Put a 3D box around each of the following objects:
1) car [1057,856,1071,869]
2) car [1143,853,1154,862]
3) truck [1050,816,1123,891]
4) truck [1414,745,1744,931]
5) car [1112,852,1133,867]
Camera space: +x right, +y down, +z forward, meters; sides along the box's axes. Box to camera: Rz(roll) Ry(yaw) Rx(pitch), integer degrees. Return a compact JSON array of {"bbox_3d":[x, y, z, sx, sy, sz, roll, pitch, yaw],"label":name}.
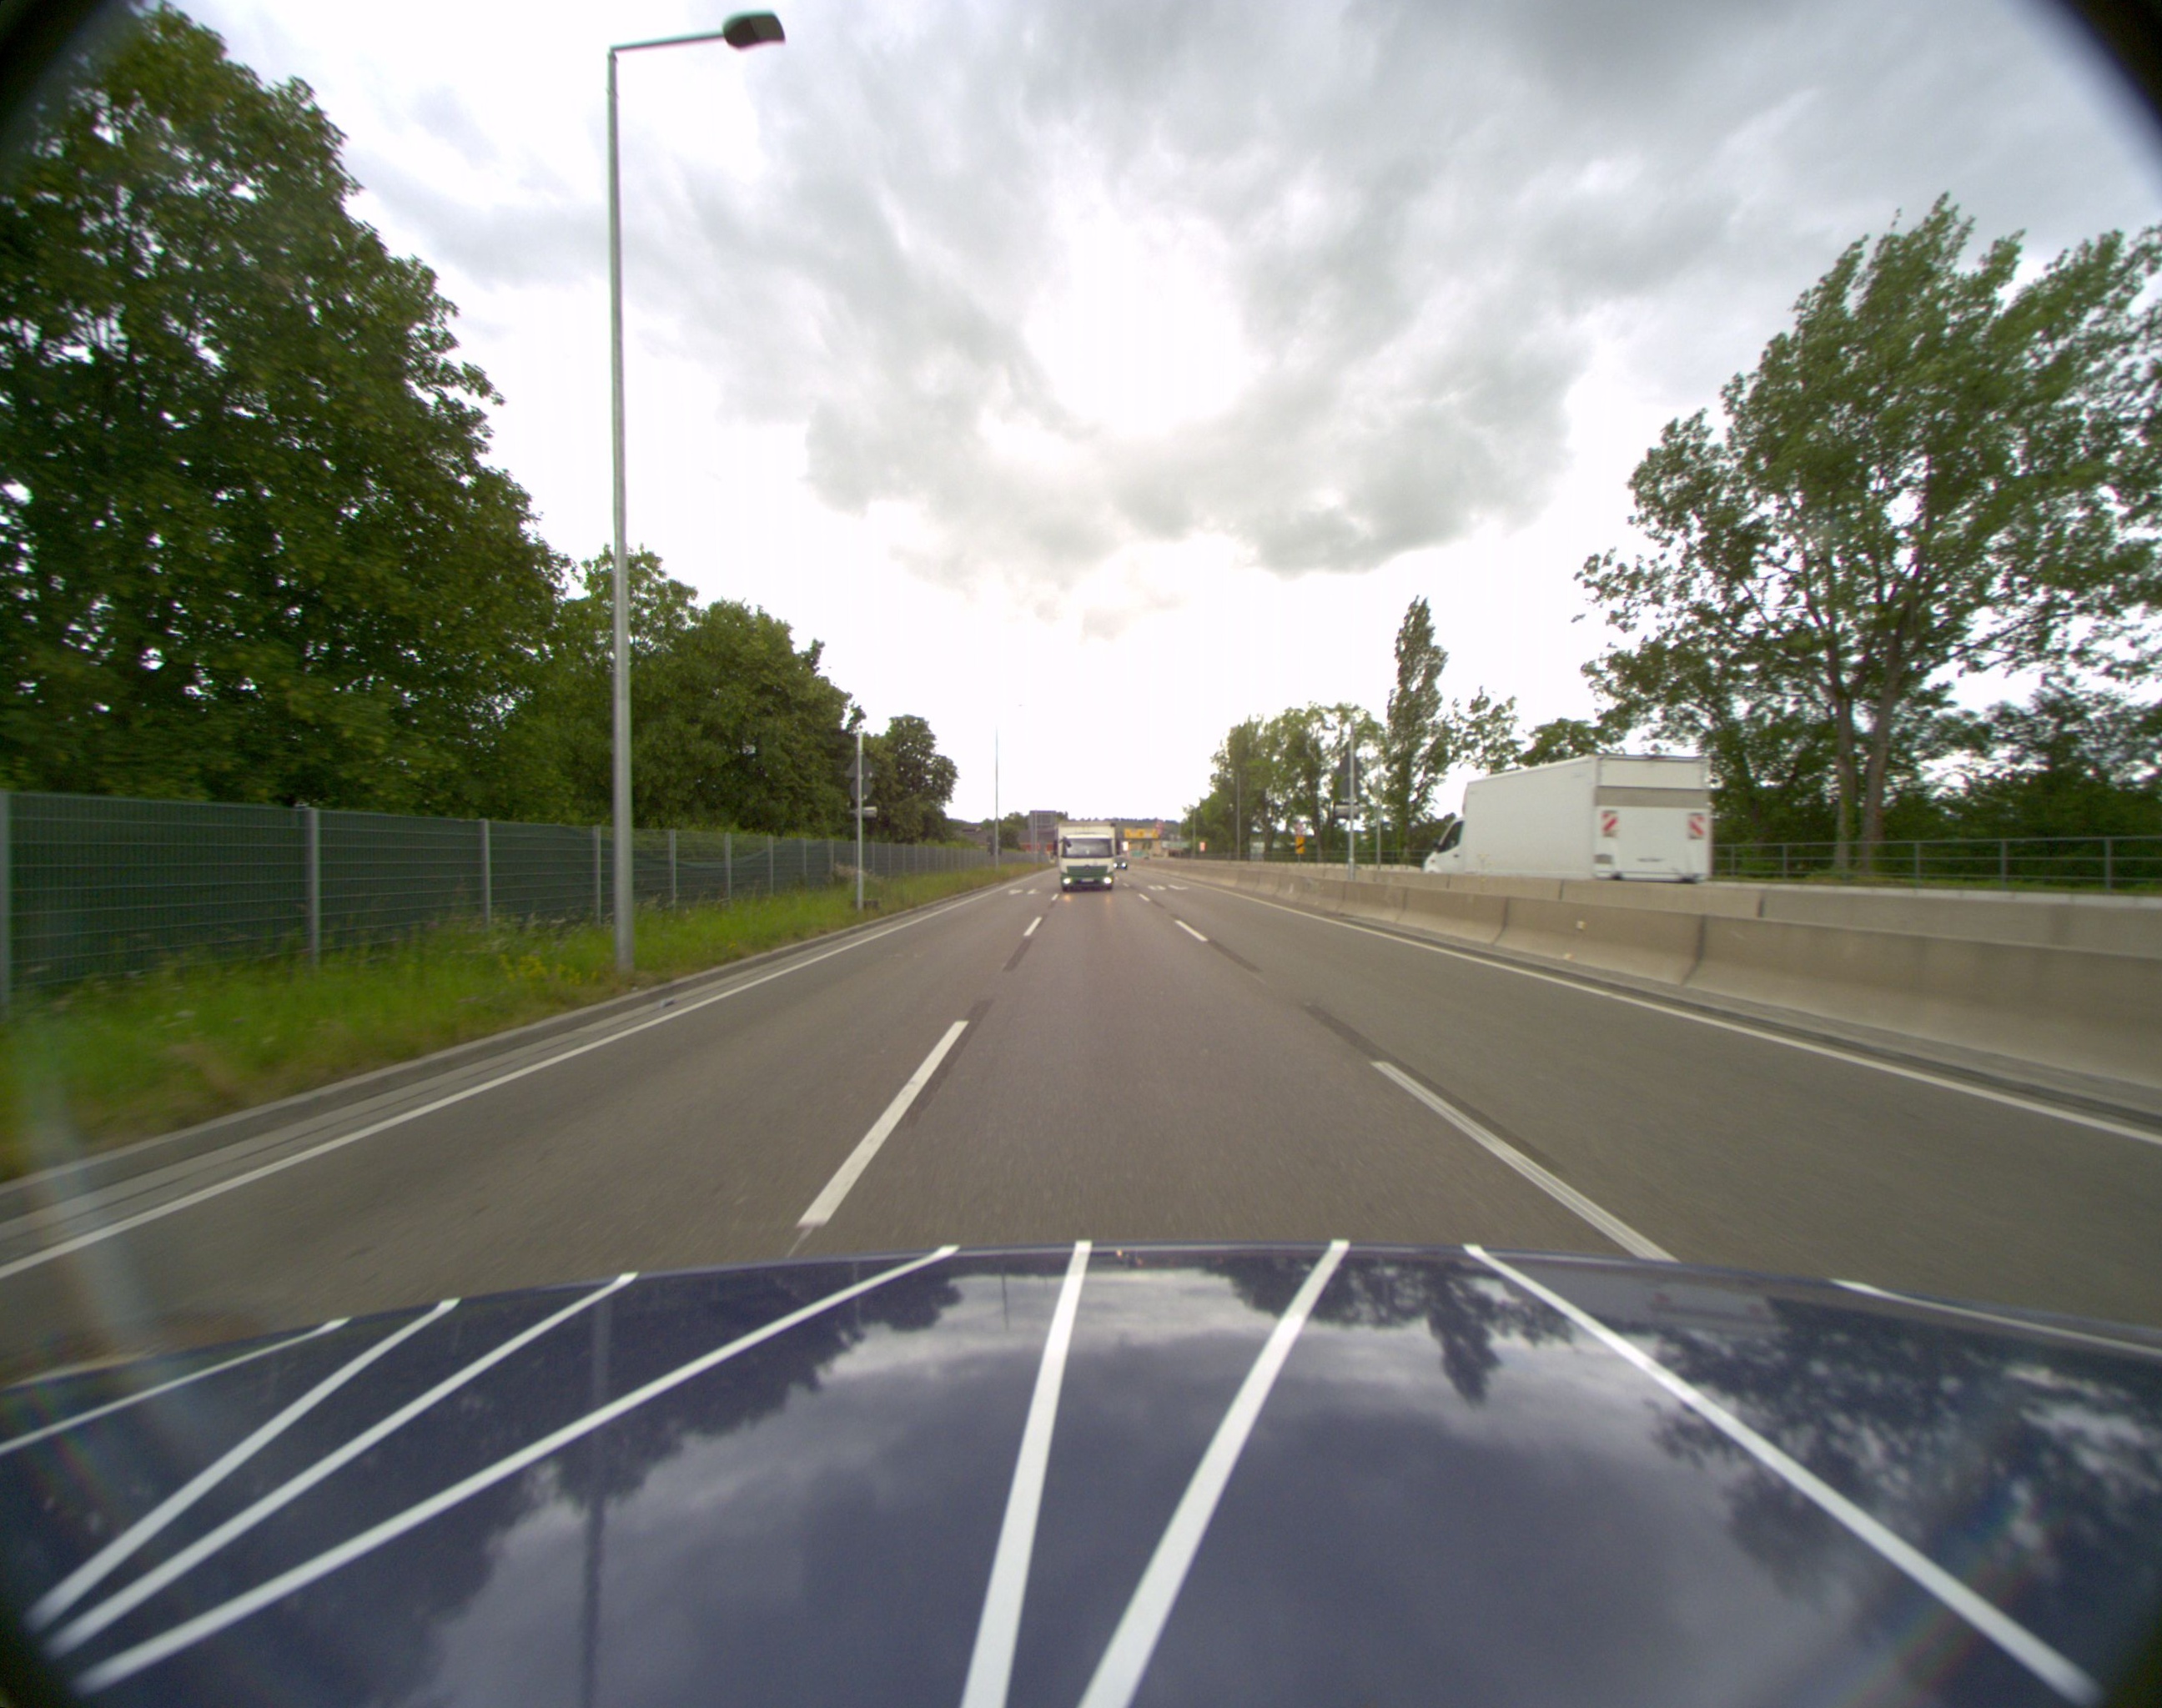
[{"bbox_3d":[-2.668,1.352,118.898,1.998,1.849,4.000,-3,0,0],"label":"car"},{"bbox_3d":[16.792,0.834,188.608,2.335,1.914,5.002,-3,0,1],"label":"car"},{"bbox_3d":[0.217,-0.002,36.377,2.943,3.064,8.386,-2,0,0],"label":"truck"},{"bbox_3d":[10.189,-0.271,16.722,2.410,3.089,7.201,-3,0,0],"label":"truck"},{"bbox_3d":[4.321,0.569,80.405,1.998,1.444,4.000,-3,0,1],"label":"car"}]
